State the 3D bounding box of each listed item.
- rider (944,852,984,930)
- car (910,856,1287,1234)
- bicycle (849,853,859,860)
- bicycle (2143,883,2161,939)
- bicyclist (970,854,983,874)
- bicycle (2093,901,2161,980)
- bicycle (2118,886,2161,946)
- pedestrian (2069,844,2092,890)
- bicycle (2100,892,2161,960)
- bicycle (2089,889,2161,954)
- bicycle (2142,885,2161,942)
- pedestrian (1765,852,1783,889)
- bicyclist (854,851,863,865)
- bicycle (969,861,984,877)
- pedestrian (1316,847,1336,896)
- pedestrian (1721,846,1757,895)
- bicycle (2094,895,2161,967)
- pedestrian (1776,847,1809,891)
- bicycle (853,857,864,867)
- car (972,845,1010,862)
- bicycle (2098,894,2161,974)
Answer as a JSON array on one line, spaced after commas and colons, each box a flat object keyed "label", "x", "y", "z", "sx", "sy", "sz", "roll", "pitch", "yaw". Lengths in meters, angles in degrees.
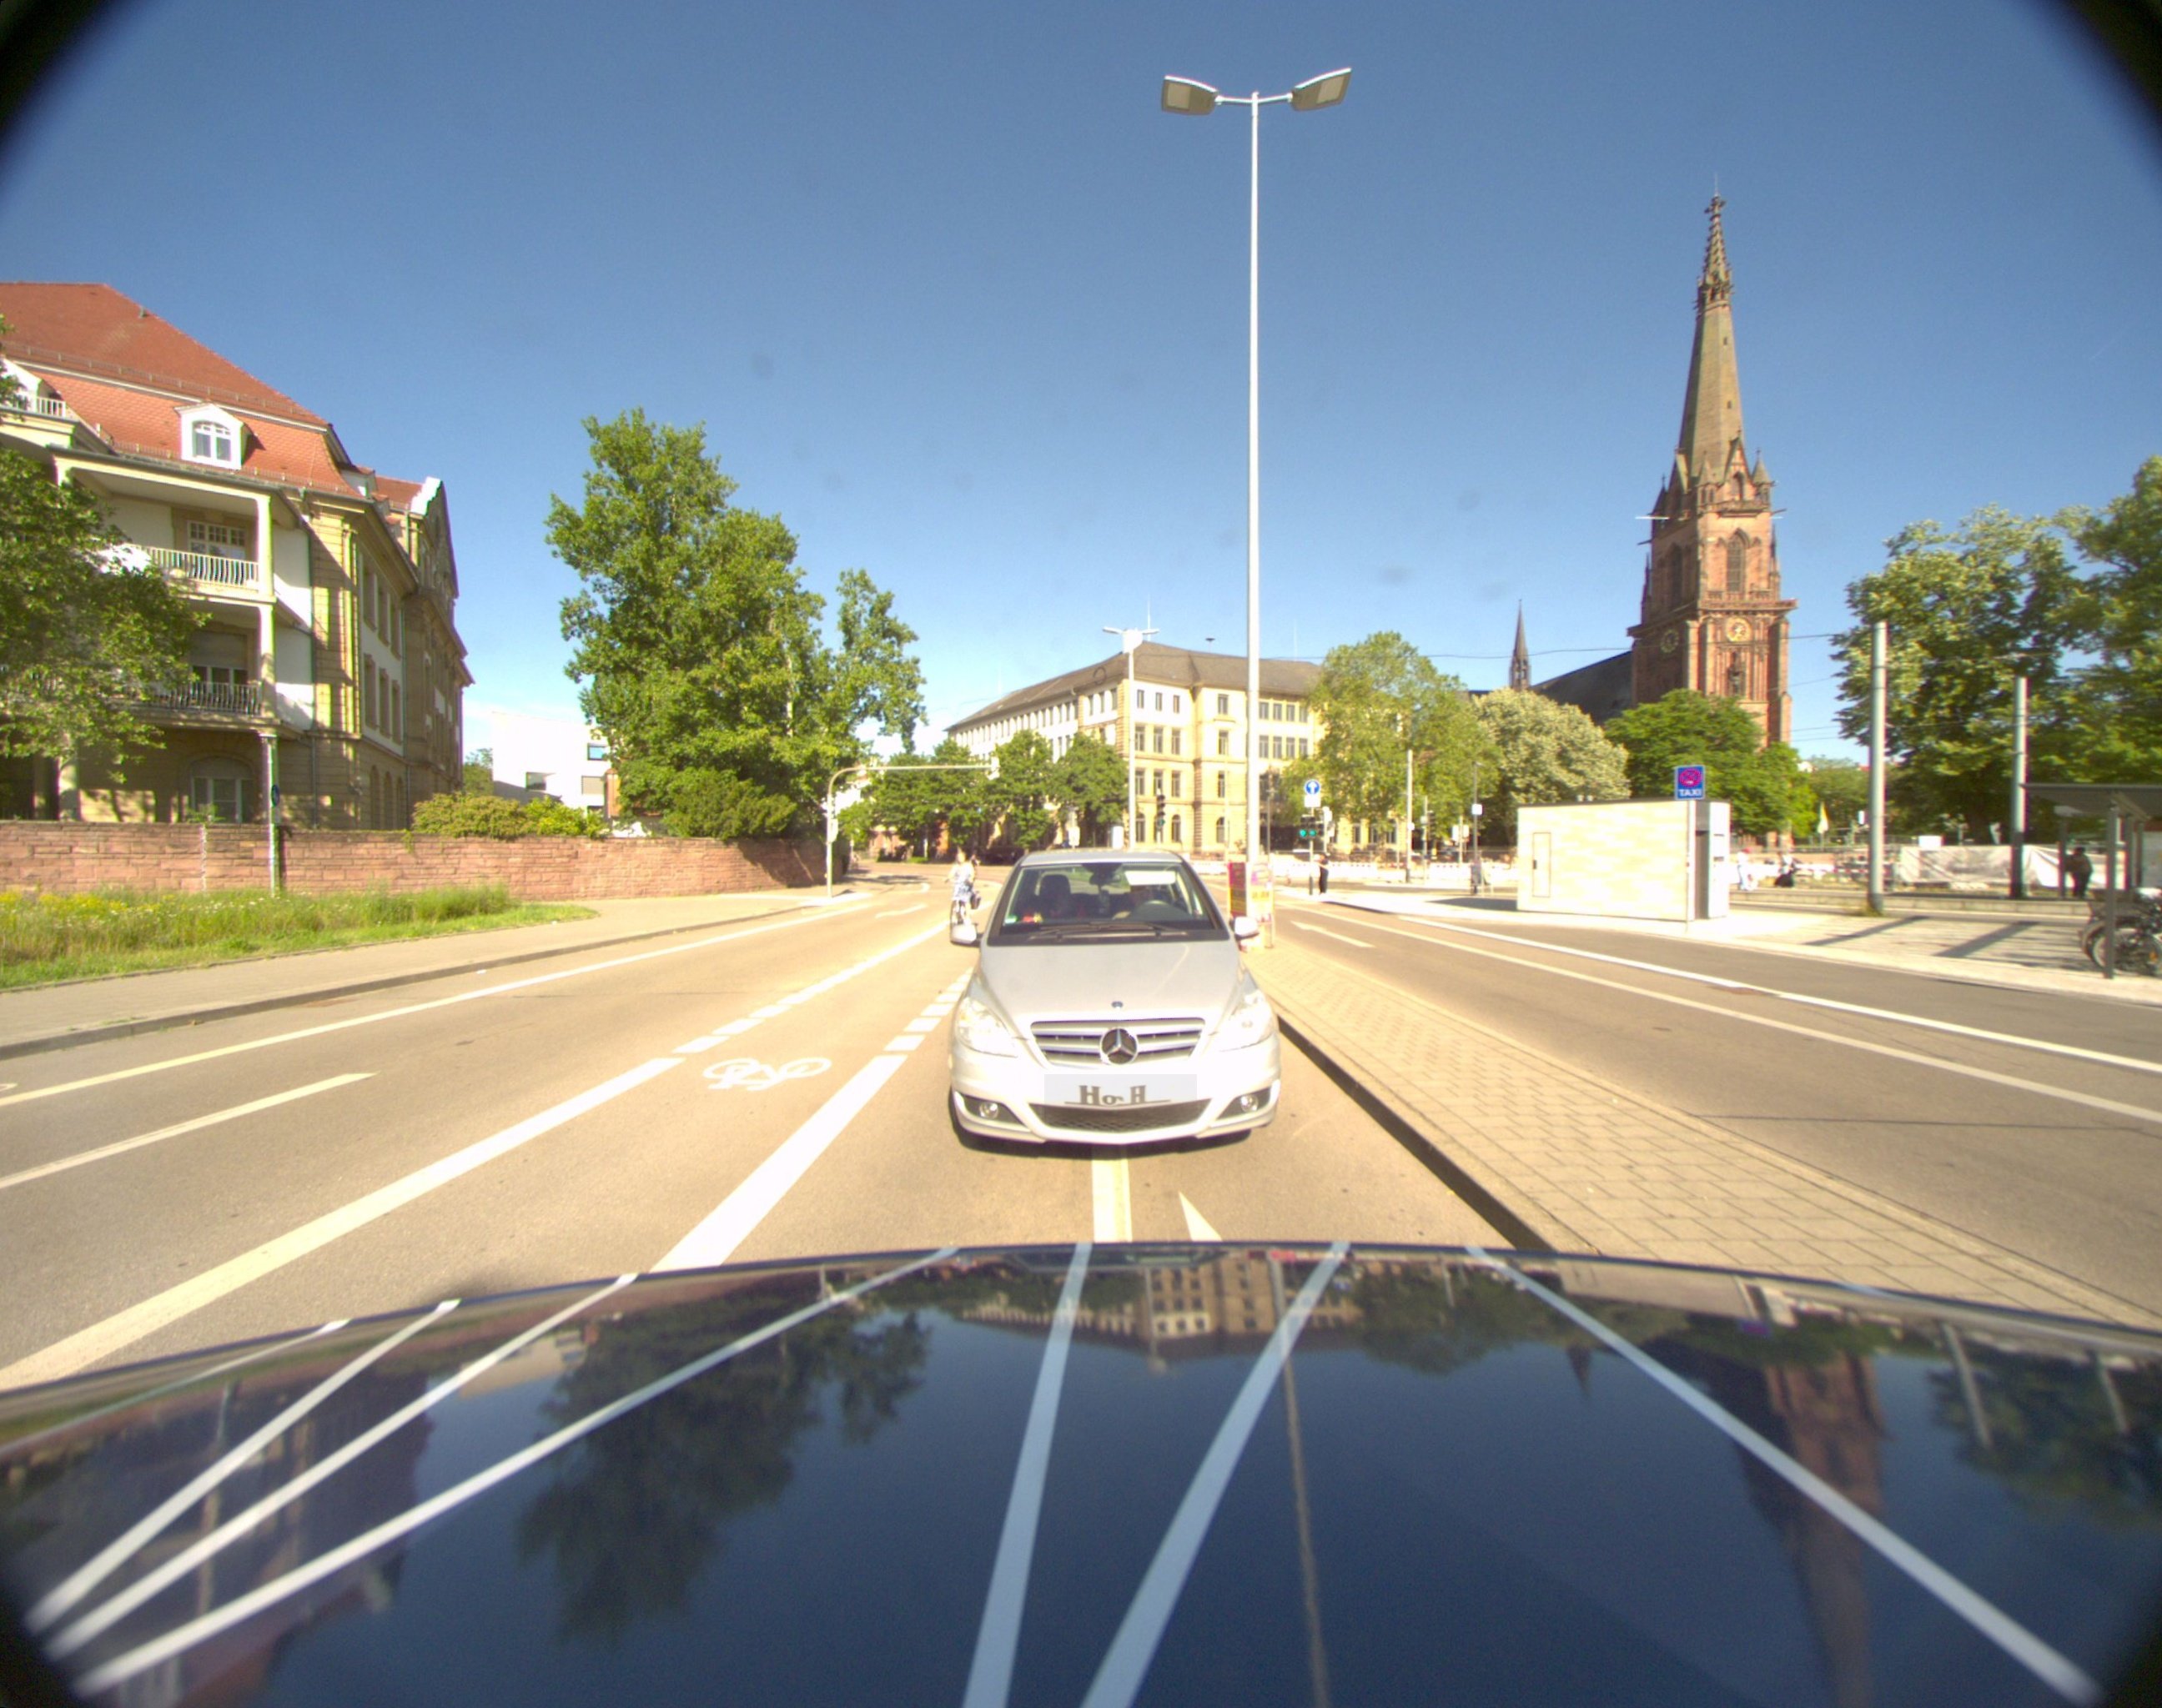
[{"label": "rider", "x": -2.503, "y": 0.764, "z": 16.342, "sx": 0.658, "sy": 1.610, "sz": 0.989, "roll": -1, "pitch": 1, "yaw": 1}, {"label": "car", "x": 0.052, "y": 0.887, "z": 5.469, "sx": 1.706, "sy": 1.657, "sz": 3.913, "roll": -1, "pitch": 1, "yaw": -1}, {"label": "bicycle", "x": -34.990, "y": 0.371, "z": 117.192, "sx": 1.830, "sy": 0.985, "sz": 0.735, "roll": 0, "pitch": 1, "yaw": 44}, {"label": "bicycle", "x": 20.486, "y": 1.062, "z": 13.615, "sx": 0.458, "sy": 1.003, "sz": 1.667, "roll": -1, "pitch": 1, "yaw": -33}, {"label": "bicyclist", "x": -7.038, "y": 0.661, "z": 51.084, "sx": 0.711, "sy": 1.309, "sz": 0.777, "roll": -1, "pitch": 1, "yaw": 1}, {"label": "bicycle", "x": 14.698, "y": 1.170, "z": 9.969, "sx": 0.458, "sy": 1.003, "sz": 1.667, "roll": -1, "pitch": 1, "yaw": -33}, {"label": "bicycle", "x": 19.125, "y": 1.097, "z": 12.953, "sx": 0.458, "sy": 1.003, "sz": 1.667, "roll": -1, "pitch": 1, "yaw": -33}, {"label": "pedestrian", "x": 37.527, "y": 0.497, "z": 28.531, "sx": 0.404, "sy": 1.711, "sz": 0.419, "roll": 1, "pitch": 1, "yaw": 38}, {"label": "bicycle", "x": 17.258, "y": 1.146, "z": 11.659, "sx": 0.458, "sy": 1.003, "sz": 1.899, "roll": -1, "pitch": 1, "yaw": -33}, {"label": "bicycle", "x": 17.912, "y": 1.125, "z": 12.432, "sx": 0.458, "sy": 1.003, "sz": 1.667, "roll": -1, "pitch": 1, "yaw": -33}, {"label": "bicycle", "x": 19.892, "y": 1.074, "z": 13.204, "sx": 0.458, "sy": 1.003, "sz": 1.667, "roll": -1, "pitch": 1, "yaw": -33}, {"label": "pedestrian", "x": 40.221, "y": 0.956, "z": 44.106, "sx": 0.571, "sy": 2.142, "sz": 0.549, "roll": -1, "pitch": 1, "yaw": -25}, {"label": "bicyclist", "x": -22.280, "y": 0.366, "z": 76.009, "sx": 0.707, "sy": 1.400, "sz": 0.770, "roll": -1, "pitch": 1, "yaw": -26}, {"label": "bicycle", "x": -7.032, "y": 0.991, "z": 51.324, "sx": 0.711, "sy": 1.000, "sz": 1.753, "roll": -1, "pitch": 1, "yaw": 1}, {"label": "pedestrian", "x": 9.299, "y": 0.651, "z": 28.839, "sx": 0.693, "sy": 1.844, "sz": 0.679, "roll": 0, "pitch": 1, "yaw": 13}, {"label": "pedestrian", "x": 24.654, "y": 0.603, "z": 28.480, "sx": 0.980, "sy": 1.769, "sz": 0.801, "roll": -1, "pitch": 1, "yaw": -37}, {"label": "bicycle", "x": 16.071, "y": 1.151, "z": 10.980, "sx": 0.458, "sy": 1.003, "sz": 1.667, "roll": -1, "pitch": 1, "yaw": -33}, {"label": "pedestrian", "x": 29.065, "y": 0.599, "z": 31.040, "sx": 0.980, "sy": 1.769, "sz": 0.801, "roll": -1, "pitch": 1, "yaw": -37}, {"label": "bicycle", "x": -22.287, "y": 0.788, "z": 76.037, "sx": 0.713, "sy": 0.938, "sz": 1.781, "roll": -1, "pitch": 1, "yaw": -26}, {"label": "car", "x": -10.734, "y": -0.040, "z": 90.763, "sx": 1.994, "sy": 2.002, "sz": 4.721, "roll": 0, "pitch": 1, "yaw": 32}, {"label": "bicycle", "x": 15.199, "y": 1.122, "z": 10.284, "sx": 0.458, "sy": 1.055, "sz": 1.667, "roll": -1, "pitch": 1, "yaw": -33}]
